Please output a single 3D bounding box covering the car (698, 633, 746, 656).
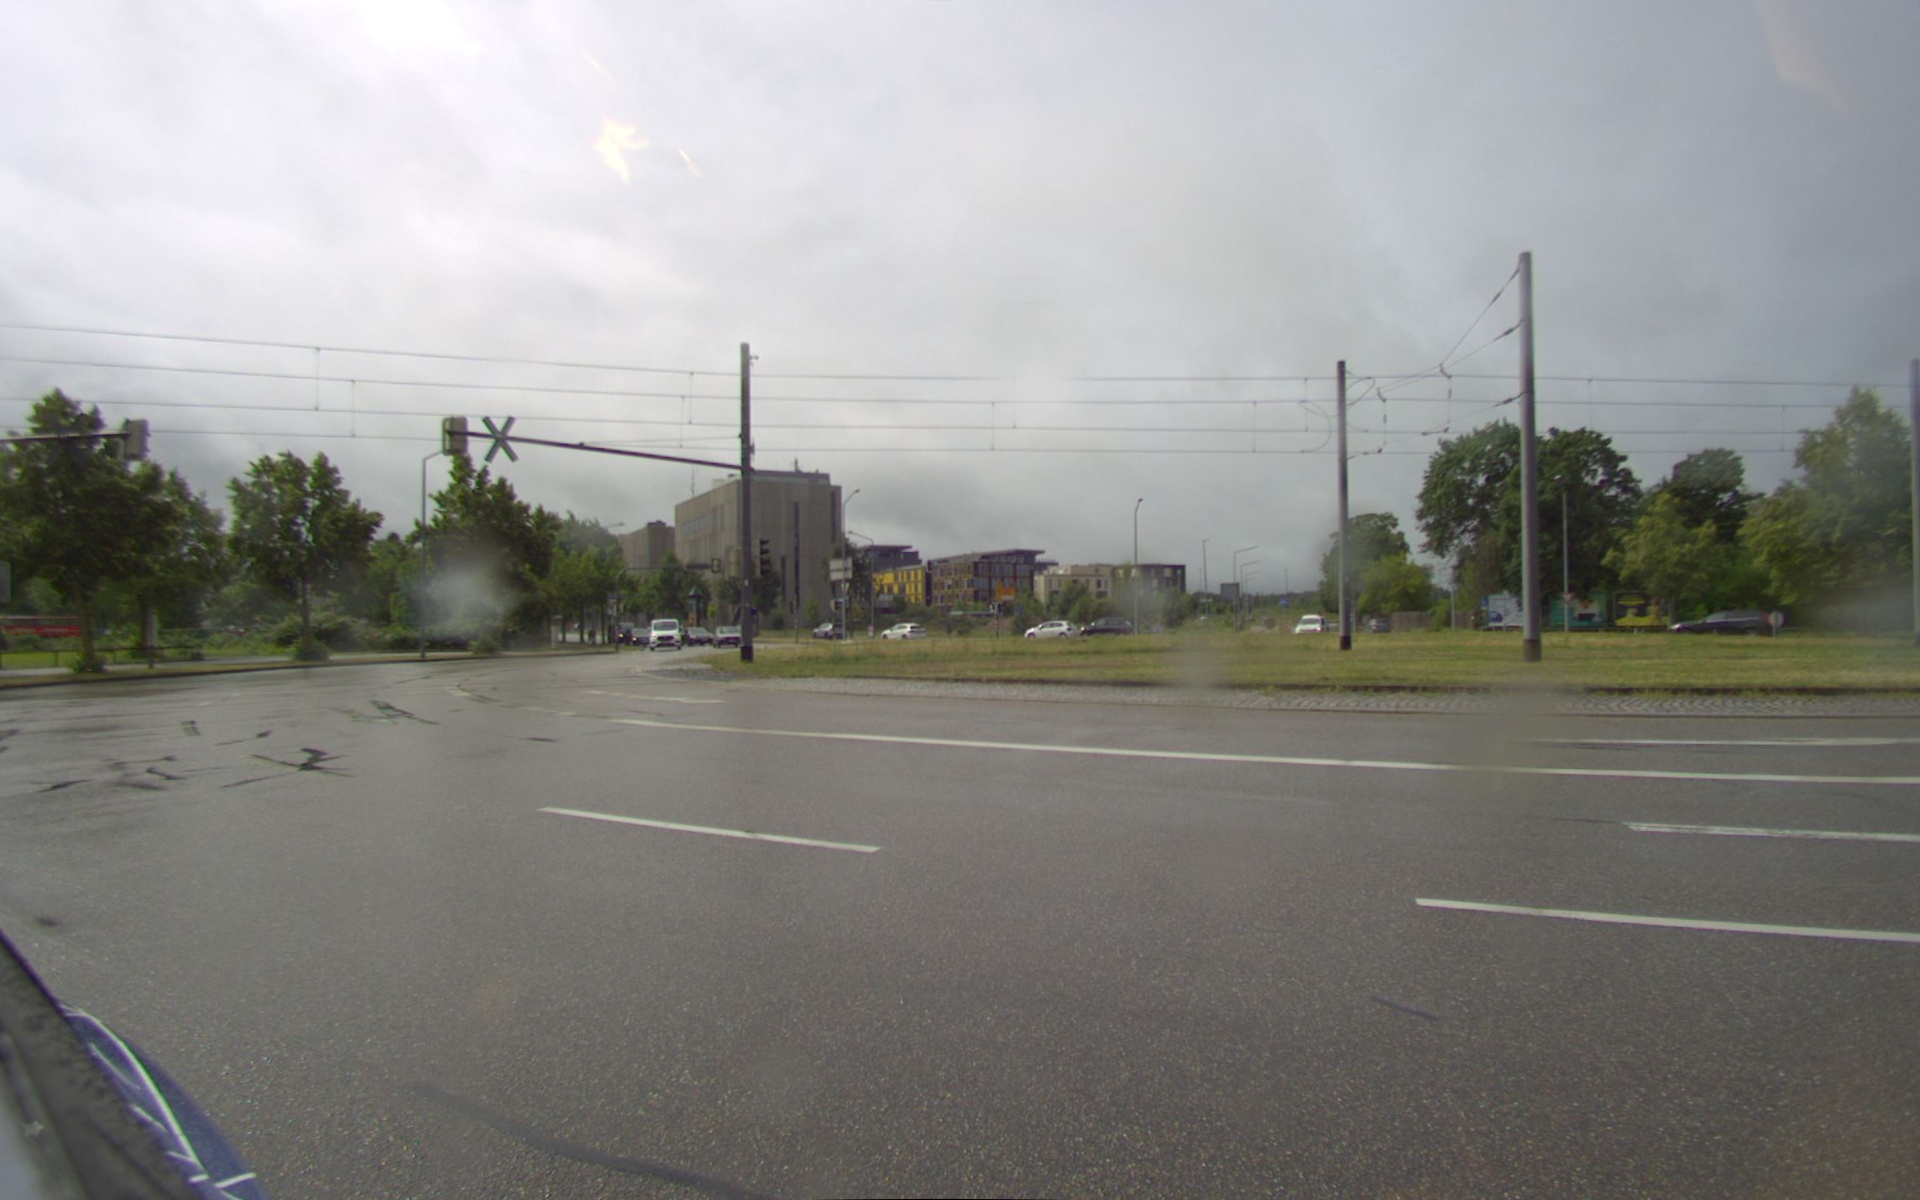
[{"bbox_3d":[-15.840,2.922,67.219,1.835,1.391,4.565,-1,-1,-29],"label":"car"}]

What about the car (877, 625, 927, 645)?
[{"bbox_3d":[-4.543,2.721,79.119,1.701,1.519,3.906,1,-3,-45],"label":"car"}]

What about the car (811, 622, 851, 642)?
[{"bbox_3d":[-11.643,2.935,91.330,1.844,1.676,4.496,0,-3,-32],"label":"car"}]

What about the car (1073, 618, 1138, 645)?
[{"bbox_3d":[9.428,2.021,65.730,3.804,1.685,1.849,-1,-1,28],"label":"car"}]

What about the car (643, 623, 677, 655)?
[{"bbox_3d":[-19.914,2.588,67.084,2.043,2.003,4.815,0,-2,-18],"label":"car"}]

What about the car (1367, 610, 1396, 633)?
[{"bbox_3d":[39.430,2.028,94.750,1.983,2.029,3.978,-3,-2,16],"label":"car"}]

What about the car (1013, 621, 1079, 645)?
[{"bbox_3d":[6.270,2.393,74.025,4.453,1.685,1.848,0,-2,30],"label":"car"}]

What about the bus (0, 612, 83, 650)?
[{"bbox_3d":[-91.937,3.056,97.774,10.808,3.486,2.004,-1,-3,-38],"label":"bus"}]

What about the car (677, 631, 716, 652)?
[{"bbox_3d":[-20.327,3.180,77.880,1.835,1.547,4.502,1,-1,-29],"label":"car"}]

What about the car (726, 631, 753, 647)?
[{"bbox_3d":[-22.378,3.973,102.625,1.705,1.424,4.140,0,-3,-27],"label":"car"}]

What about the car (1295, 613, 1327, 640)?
[{"bbox_3d":[24.716,1.848,71.242,1.864,1.829,3.969,-1,-1,23],"label":"car"}]
